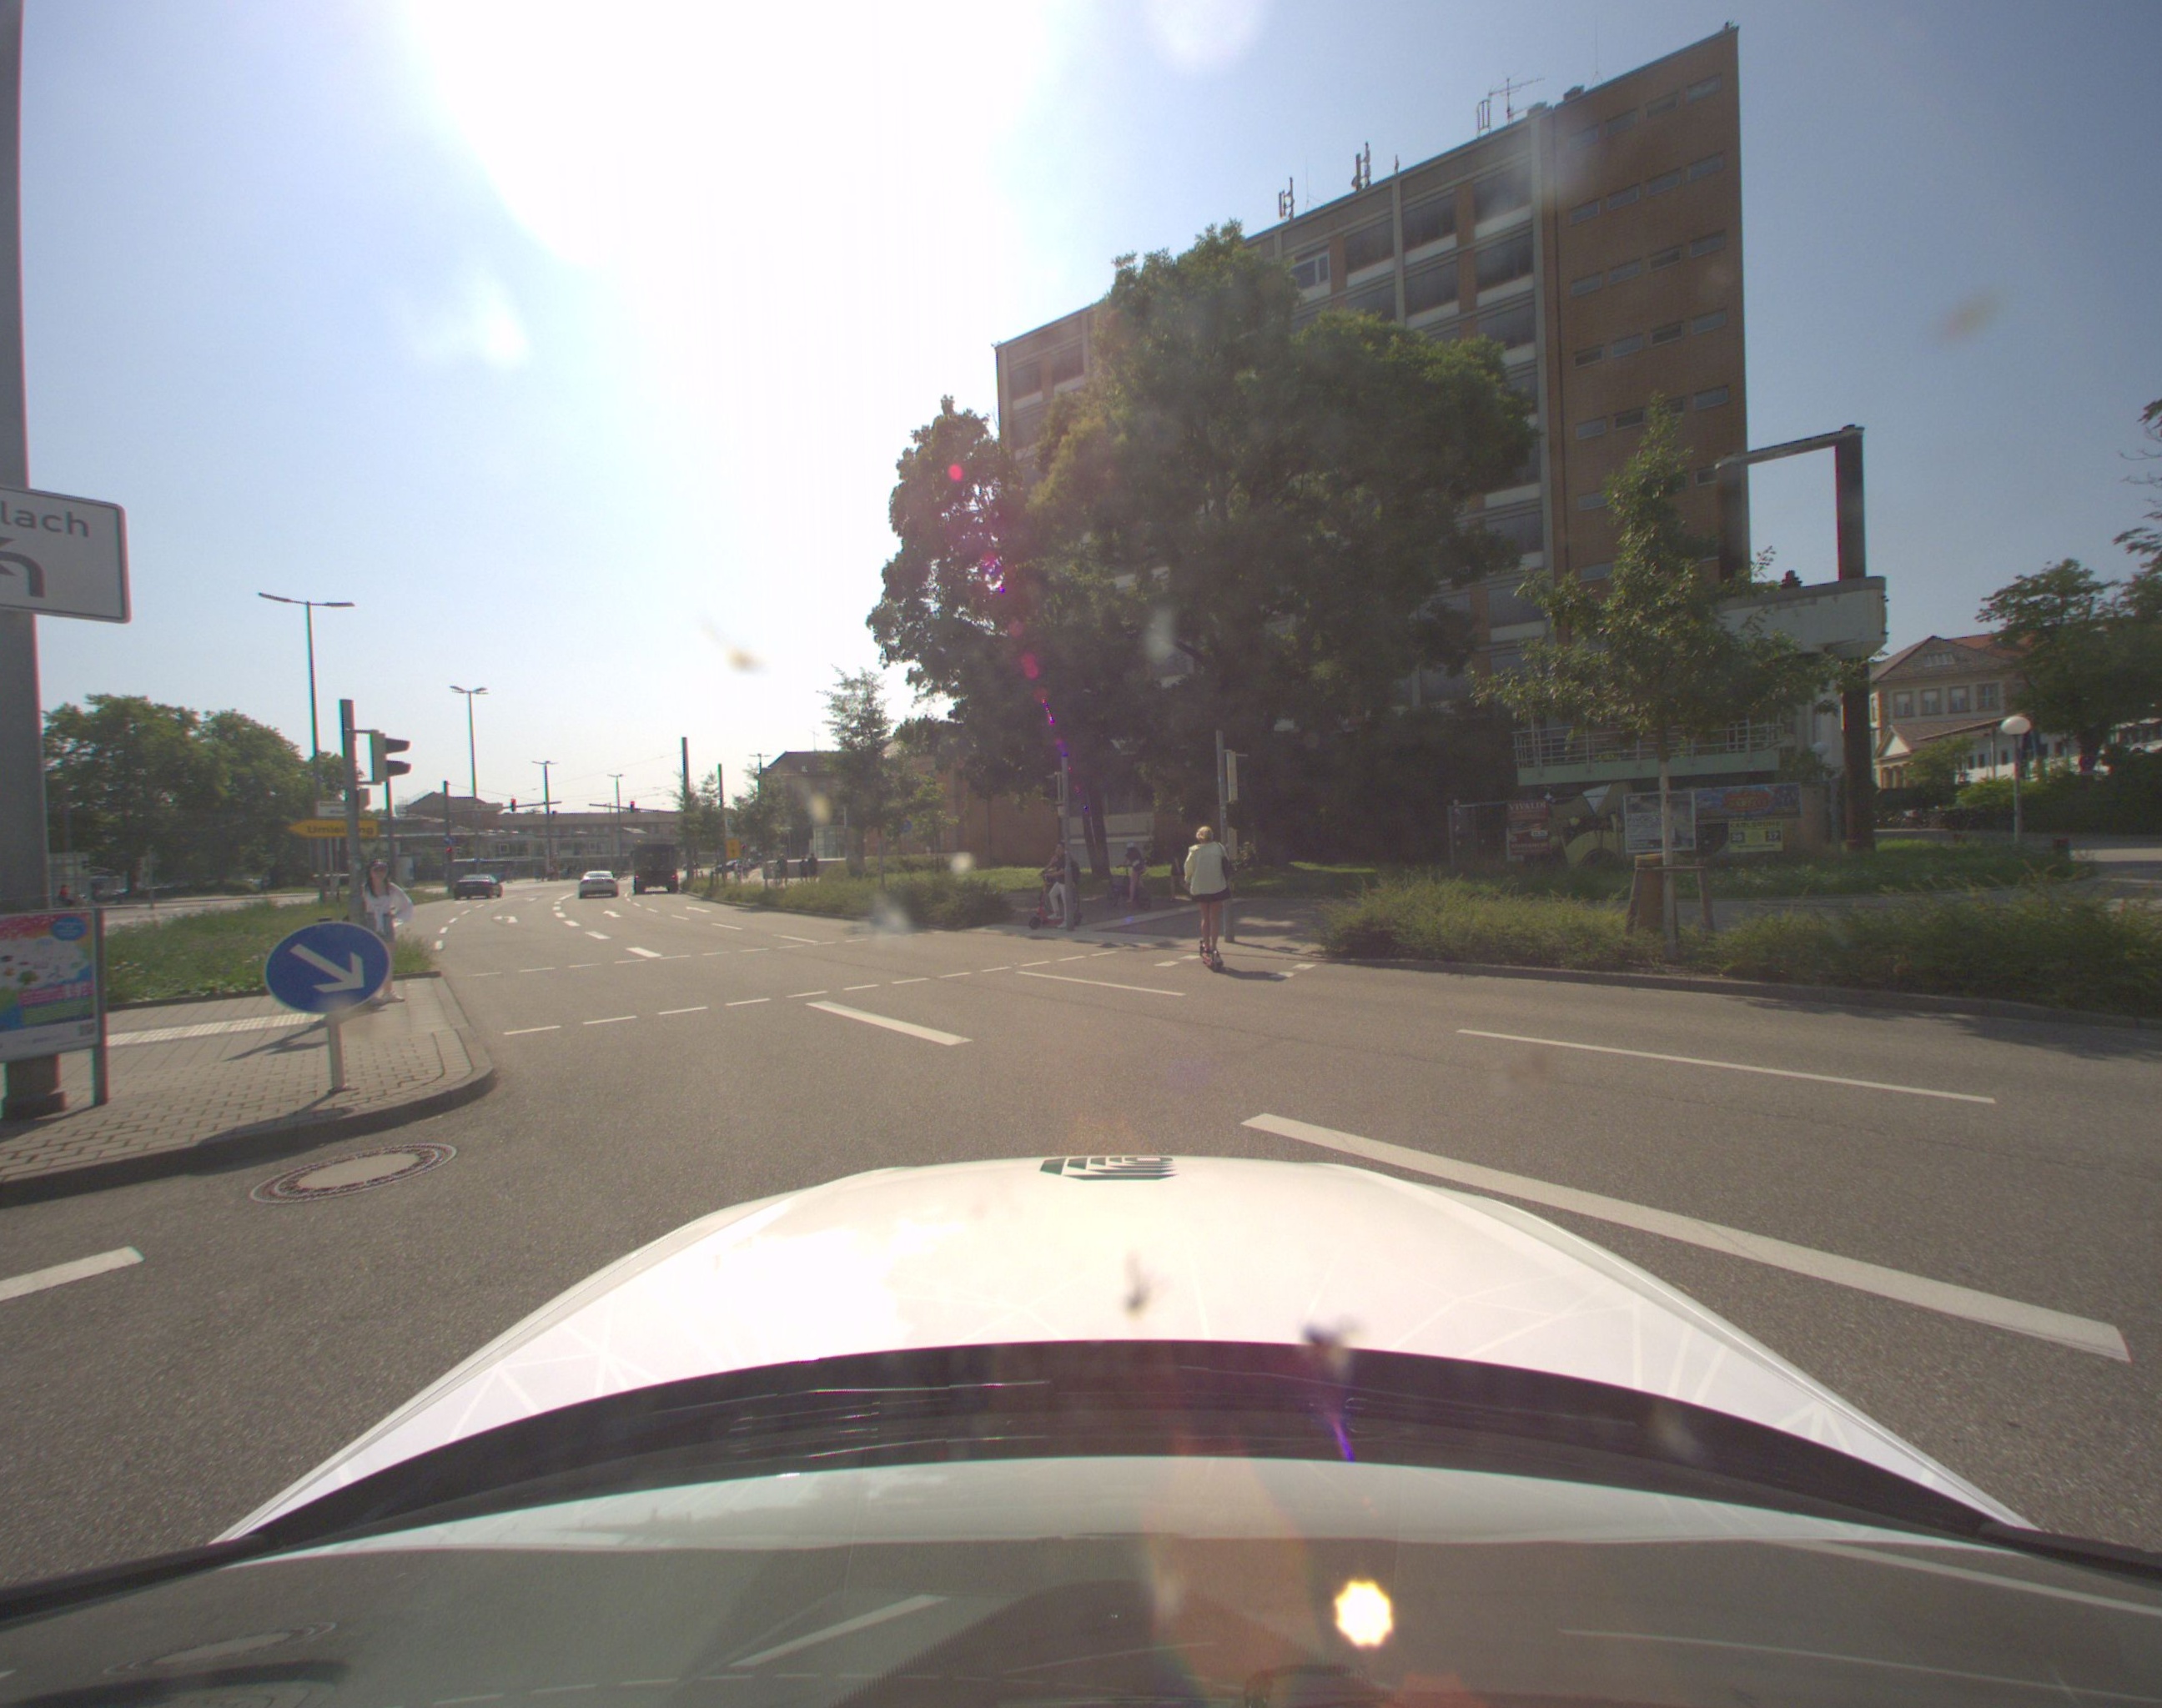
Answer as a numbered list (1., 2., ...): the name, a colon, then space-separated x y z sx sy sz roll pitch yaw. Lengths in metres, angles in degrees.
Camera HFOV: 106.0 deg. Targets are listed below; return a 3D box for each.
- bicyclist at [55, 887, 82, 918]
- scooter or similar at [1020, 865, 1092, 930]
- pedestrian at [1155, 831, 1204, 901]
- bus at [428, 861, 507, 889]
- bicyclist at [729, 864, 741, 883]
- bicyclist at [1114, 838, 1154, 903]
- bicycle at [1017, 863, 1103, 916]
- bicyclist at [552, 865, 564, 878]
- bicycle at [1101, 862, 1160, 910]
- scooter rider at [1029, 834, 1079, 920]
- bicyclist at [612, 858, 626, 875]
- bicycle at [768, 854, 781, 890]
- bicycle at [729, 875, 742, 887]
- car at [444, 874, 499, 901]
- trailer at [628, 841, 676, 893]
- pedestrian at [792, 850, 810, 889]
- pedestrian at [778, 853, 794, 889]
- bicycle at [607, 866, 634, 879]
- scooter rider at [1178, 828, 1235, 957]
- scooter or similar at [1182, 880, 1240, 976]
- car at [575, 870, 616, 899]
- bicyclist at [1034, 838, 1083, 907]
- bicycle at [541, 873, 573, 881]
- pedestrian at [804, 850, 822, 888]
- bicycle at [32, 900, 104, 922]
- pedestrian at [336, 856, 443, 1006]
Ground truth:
1. bicyclist: -55.659 2.668 44.767 0.599 1.642 0.847 -2 0 42
2. scooter or similar: -0.532 0.900 17.263 1.367 1.234 0.582 -4 1 -18
3. pedestrian: 2.502 0.296 20.676 0.712 1.704 0.868 -5 2 -41
4. bus: -74.319 2.470 99.089 3.057 2.931 11.799 -2 0 -13
5. bicyclist: -24.657 1.375 58.044 0.678 1.320 0.677 -3 0 -27
6. bicyclist: 1.267 0.382 19.590 0.551 1.496 0.797 -4 1 -24
7. bicycle: -0.542 0.840 19.768 0.700 1.154 2.343 -5 2 -40
8. bicyclist: -61.466 2.067 95.645 0.854 1.501 0.912 -2 0 42
9. bicycle: 1.183 0.758 19.878 0.559 1.060 1.988 -5 2 -23
10. scooter rider: -0.584 0.469 17.191 0.804 1.739 0.684 -4 1 -18
11. bicyclist: -47.259 1.309 83.248 0.654 1.654 0.981 -2 0 27
12. bicycle: -15.974 0.931 42.475 0.456 1.860 1.355 -3 0 -18
13. bicycle: -24.699 1.937 58.182 0.678 0.776 2.109 -3 0 -27
14. car: -35.106 1.887 47.002 1.767 1.404 3.947 -2 0 -26
15. trailer: -26.976 0.781 51.187 2.477 3.008 6.266 -1 0 -28
16. pedestrian: -14.819 0.816 43.093 0.779 1.973 0.750 -3 0 -15
17. pedestrian: -15.534 0.902 42.902 0.662 1.860 0.788 -3 0 -18
18. bicycle: -47.076 1.912 83.174 2.796 1.178 0.981 -2 0 27
19. scooter rider: 1.711 0.512 11.157 0.667 1.699 0.540 -2 0 3
20. scooter or similar: 1.728 0.947 11.045 0.554 1.060 2.006 -2 1 3
21. car: -27.143 1.670 45.626 1.768 1.455 4.384 -2 0 -29
22. bicyclist: -0.542 0.443 19.727 0.696 1.598 0.834 -6 2 -40
23. bicycle: -61.481 2.658 95.613 0.854 0.727 2.963 -2 1 41
24. pedestrian: -14.489 0.802 43.995 0.779 1.973 0.750 -3 0 -15
25. bicycle: -55.629 3.120 44.771 0.596 0.953 2.432 -2 1 42
26. pedestrian: -8.308 0.894 9.814 0.699 1.695 0.604 -3 0 -14
